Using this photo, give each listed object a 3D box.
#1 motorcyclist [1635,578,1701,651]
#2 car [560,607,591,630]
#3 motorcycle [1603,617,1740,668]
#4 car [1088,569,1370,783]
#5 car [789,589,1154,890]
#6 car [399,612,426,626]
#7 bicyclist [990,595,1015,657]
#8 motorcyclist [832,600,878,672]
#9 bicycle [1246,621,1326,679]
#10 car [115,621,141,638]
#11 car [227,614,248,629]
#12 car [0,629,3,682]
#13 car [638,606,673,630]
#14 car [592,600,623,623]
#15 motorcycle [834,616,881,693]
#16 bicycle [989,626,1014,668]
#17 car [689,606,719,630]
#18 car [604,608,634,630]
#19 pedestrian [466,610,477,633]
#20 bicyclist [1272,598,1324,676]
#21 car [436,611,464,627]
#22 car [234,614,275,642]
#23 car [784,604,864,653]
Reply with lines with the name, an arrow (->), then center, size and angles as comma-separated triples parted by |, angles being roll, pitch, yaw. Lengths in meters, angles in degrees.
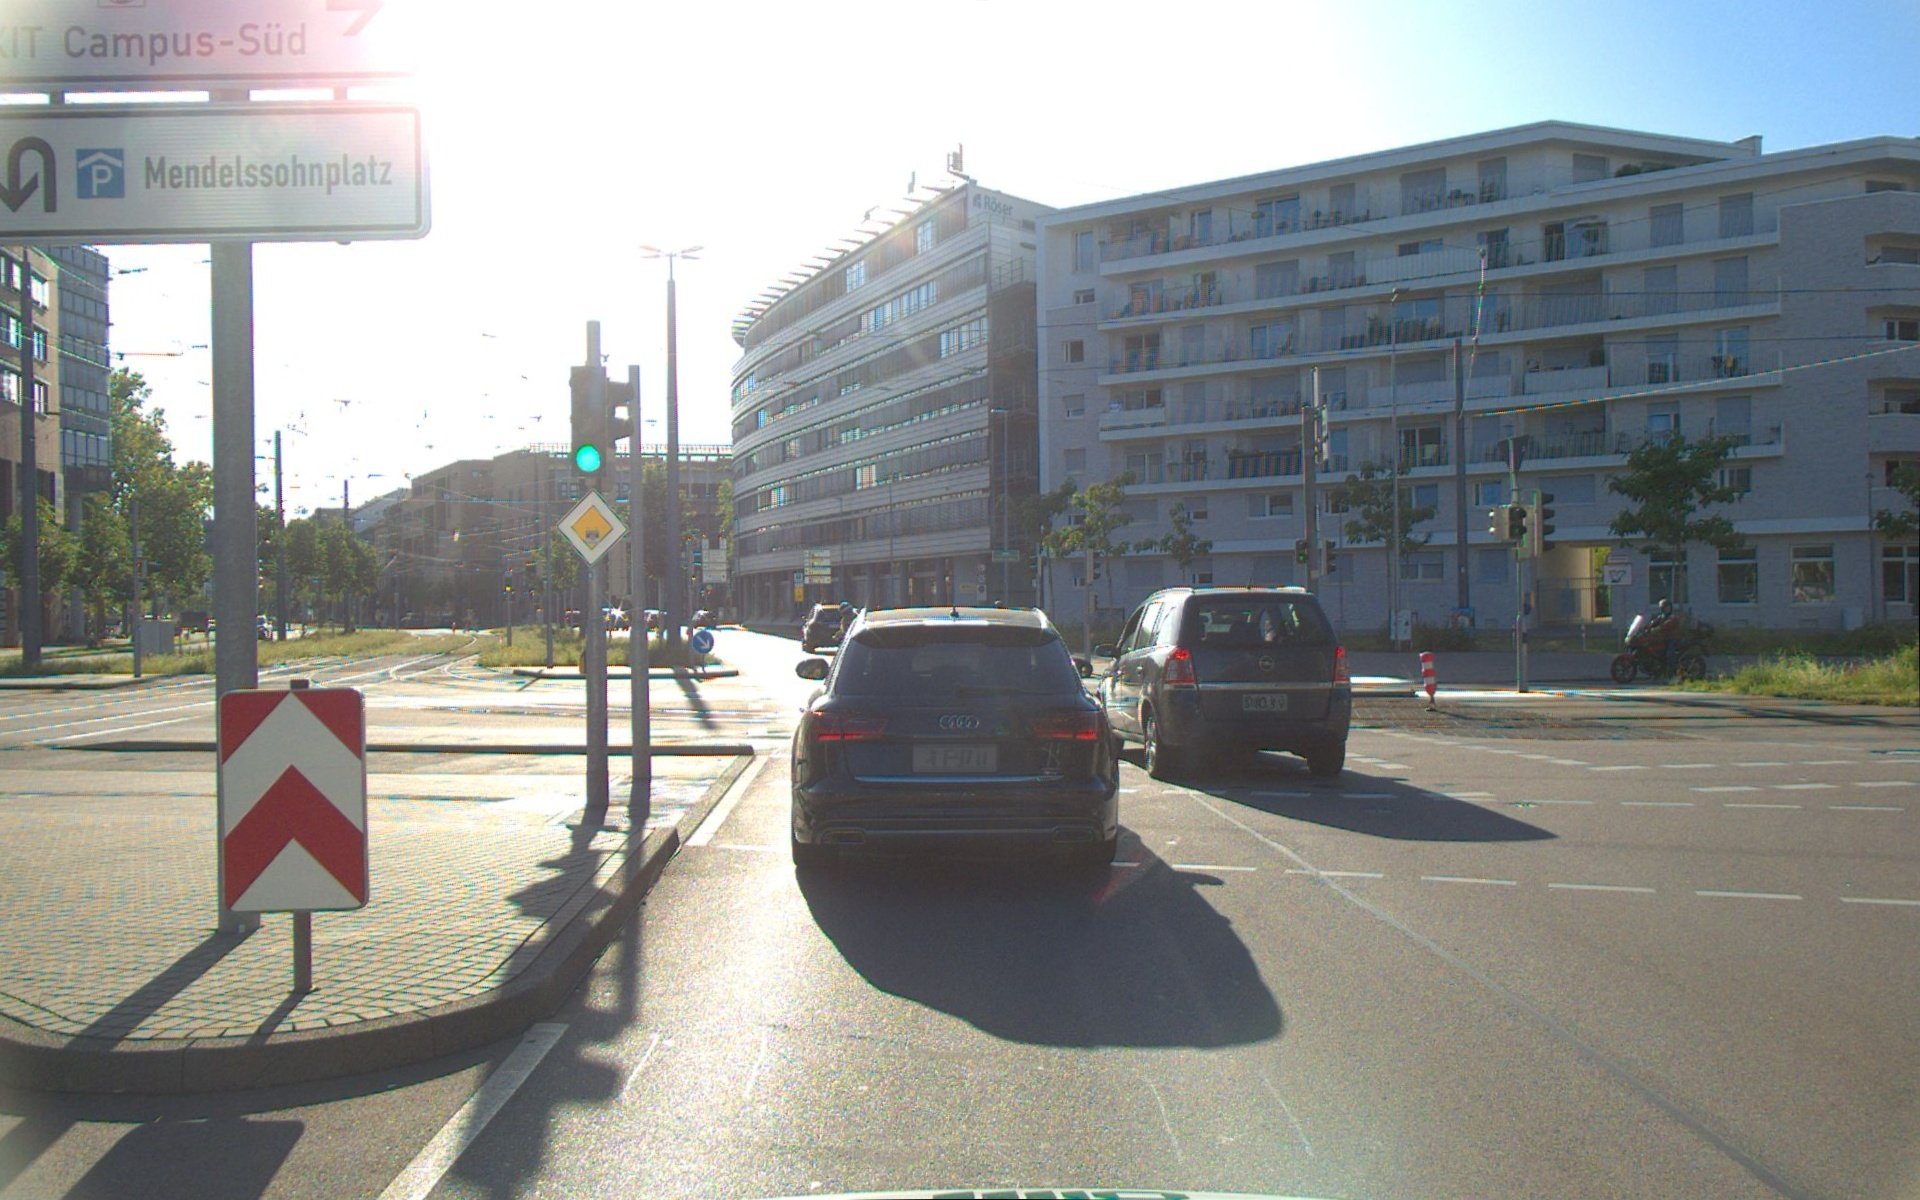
motorcyclist -> 15.037, 0.308, 35.151 | 0.906, 1.507, 1.172 | -1, 0, 1
car -> -30.755, 1.477, 132.208 | 1.963, 1.736, 3.978 | -1, -1, -19
motorcycle -> 15.093, 0.896, 35.150 | 2.402, 1.018, 1.172 | -1, 0, 1
car -> 2.381, 0.640, 15.731 | 1.711, 1.725, 4.257 | 1, 0, -4
car -> 0.022, 0.692, 10.256 | 1.805, 1.479, 3.999 | 1, 0, -1
car -> -66.398, 2.352, 200.577 | 1.977, 1.668, 4.358 | -1, 0, -34
bicyclist -> 1.164, 0.693, 44.956 | 0.640, 1.671, 0.972 | -1, 0, 2
motorcyclist -> -2.011, 0.689, 31.789 | 0.845, 1.349, 0.681 | -1, -1, -3
bicycle -> 7.472, 1.135, 37.974 | 0.756, 1.284, 2.066 | -1, 0, -23
car -> -104.584, 3.692, 207.892 | 1.981, 2.049, 3.943 | -2, 0, -39
car -> -90.478, 2.703, 207.094 | 1.972, 1.713, 3.960 | -1, 0, -29
car -> -29.664, 1.685, 47.514 | 1.954, 1.573, 4.526 | -1, 0, -5
car -> -22.963, 1.366, 124.601 | 1.964, 1.624, 3.977 | -1, -1, -19
car -> -28.297, 0.926, 132.602 | 1.963, 1.736, 3.978 | -1, -1, -19
motorcycle -> -1.953, 1.023, 31.667 | 0.845, 1.417, 1.892 | -1, 0, -3
bicycle -> 1.134, 1.260, 44.955 | 0.640, 1.061, 1.930 | -1, 0, 2
car -> -21.234, 1.493, 137.155 | 1.961, 1.870, 3.982 | -1, -1, -16
car -> -26.192, 1.486, 126.944 | 1.961, 1.624, 3.982 | -2, -1, -16
pedestrian -> -41.018, 1.781, 138.850 | 0.888, 1.856, 0.825 | -2, -2, -18
bicyclist -> 7.663, 0.834, 37.547 | 0.756, 1.736, 0.923 | -1, -1, -24
car -> -55.212, 2.056, 179.141 | 1.954, 1.736, 3.996 | -2, -1, -4
car -> -42.835, 1.691, 100.495 | 1.963, 1.668, 4.387 | -1, 0, -19
car -> -5.216, 1.056, 63.040 | 1.974, 1.745, 4.346 | 1, 0, -20
